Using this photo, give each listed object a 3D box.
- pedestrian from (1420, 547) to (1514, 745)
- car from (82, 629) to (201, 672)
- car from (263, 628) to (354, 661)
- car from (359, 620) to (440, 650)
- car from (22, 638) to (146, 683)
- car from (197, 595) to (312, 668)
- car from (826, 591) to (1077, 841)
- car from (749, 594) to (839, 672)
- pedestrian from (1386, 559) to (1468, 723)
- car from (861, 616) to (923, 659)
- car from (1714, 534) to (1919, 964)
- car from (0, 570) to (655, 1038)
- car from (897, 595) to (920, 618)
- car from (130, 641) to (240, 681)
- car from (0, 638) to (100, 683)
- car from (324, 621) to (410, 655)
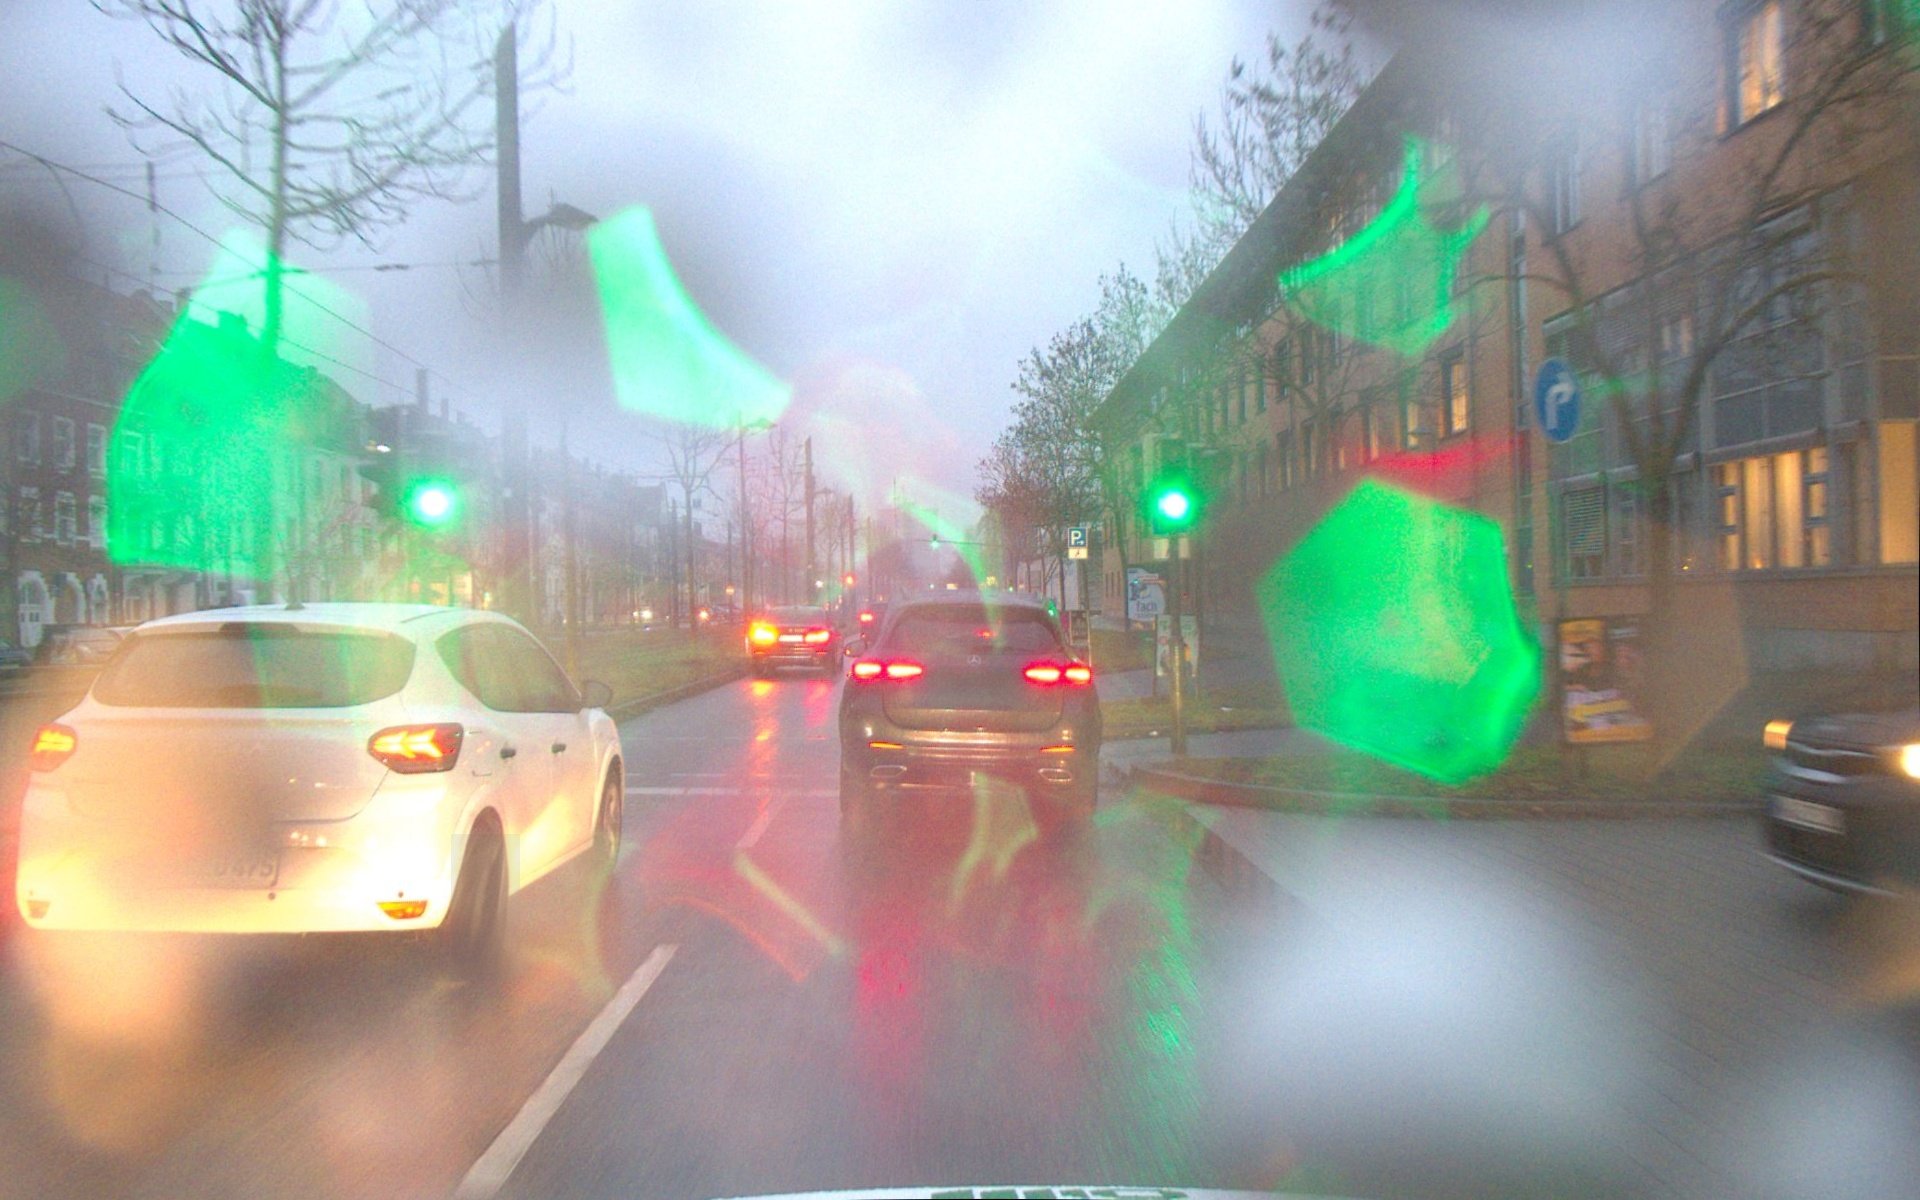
[{"bbox_3d":[4.909,0.435,16.028,0.498,1.856,0.652,-2,0,-27],"label":"pedestrian"},{"bbox_3d":[-28.307,1.740,57.163,3.917,1.355,1.994,-2,0,34],"label":"car"},{"bbox_3d":[-29.019,1.977,73.656,3.921,1.355,1.992,-2,0,37],"label":"car"},{"bbox_3d":[-28.288,1.763,83.398,3.921,1.355,1.992,-2,0,37],"label":"car"},{"bbox_3d":[-28.500,1.970,53.779,3.918,1.355,1.993,-2,0,35],"label":"car"},{"bbox_3d":[-28.835,1.309,67.481,5.760,2.846,1.989,-2,0,41],"label":"car"},{"bbox_3d":[-0.076,0.768,12.873,1.638,1.628,4.053,0,0,-1],"label":"car"},{"bbox_3d":[-3.644,0.707,36.909,1.638,1.628,4.053,0,0,-1],"label":"car"},{"bbox_3d":[5.212,0.451,18.461,0.499,1.772,0.650,-2,0,-33],"label":"pedestrian"},{"bbox_3d":[-2.316,1.255,56.790,1.953,1.321,3.478,-2,0,0],"label":"car"},{"bbox_3d":[5.460,0.455,6.758,3.905,1.583,1.742,-3,0,0],"label":"car"},{"bbox_3d":[-2.622,0.725,7.841,1.638,1.628,4.053,0,0,-1],"label":"car"},{"bbox_3d":[-4.498,0.580,144.157,1.954,1.948,3.998,-2,0,-2],"label":"car"},{"bbox_3d":[-28.296,2.237,60.356,3.921,1.355,1.992,-2,0,37],"label":"car"},{"bbox_3d":[-27.145,1.778,48.446,3.922,1.190,1.992,-2,0,37],"label":"car"},{"bbox_3d":[-28.782,1.832,80.290,3.916,1.512,1.994,-2,0,34],"label":"car"}]
